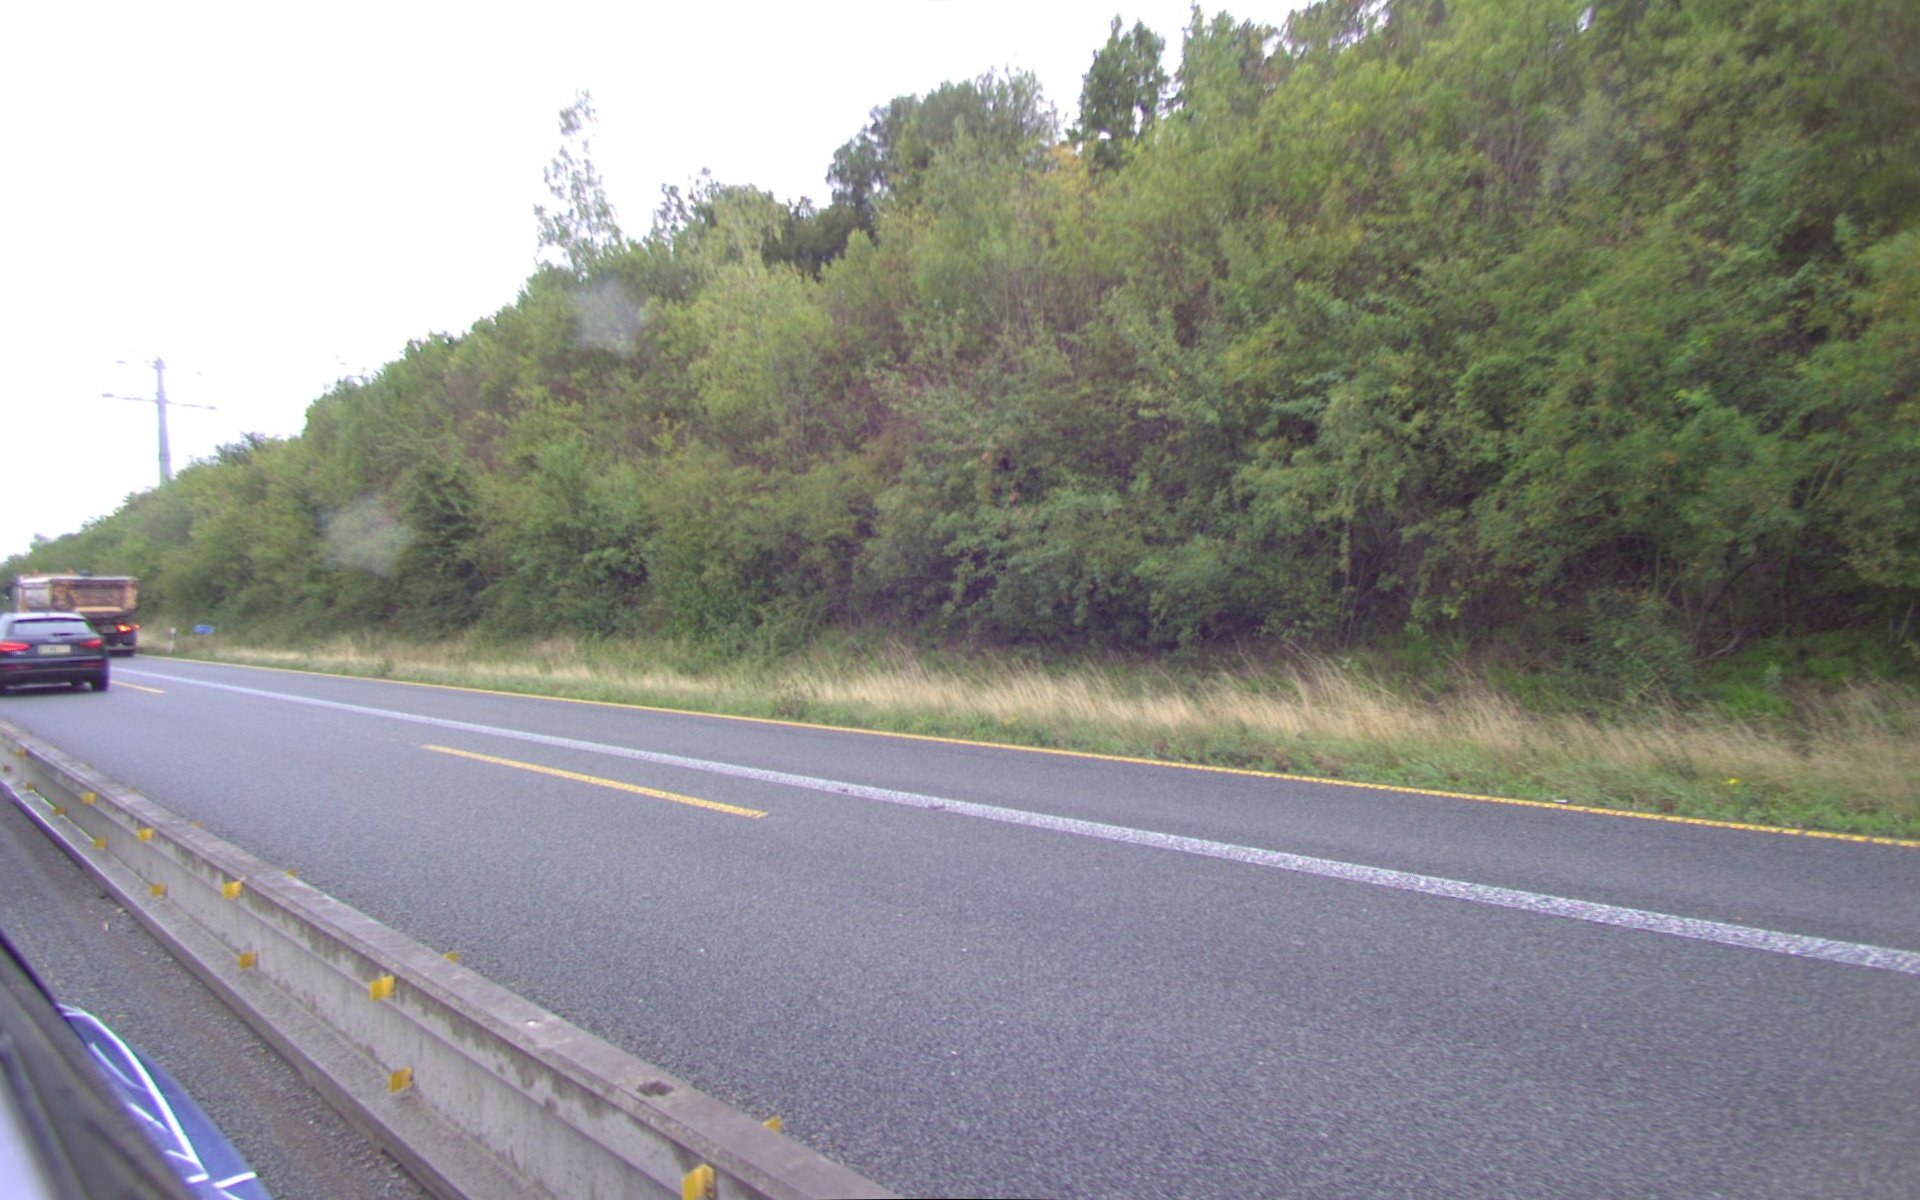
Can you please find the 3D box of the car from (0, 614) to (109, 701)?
[{"bbox_3d":[-18.753,1.093,20.435,3.987,1.571,1.791,-1,0,41],"label":"car"}]

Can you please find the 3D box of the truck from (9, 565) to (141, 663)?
[{"bbox_3d":[-35.093,0.551,39.901,12.046,3.378,2.508,-1,0,42],"label":"truck"}]
